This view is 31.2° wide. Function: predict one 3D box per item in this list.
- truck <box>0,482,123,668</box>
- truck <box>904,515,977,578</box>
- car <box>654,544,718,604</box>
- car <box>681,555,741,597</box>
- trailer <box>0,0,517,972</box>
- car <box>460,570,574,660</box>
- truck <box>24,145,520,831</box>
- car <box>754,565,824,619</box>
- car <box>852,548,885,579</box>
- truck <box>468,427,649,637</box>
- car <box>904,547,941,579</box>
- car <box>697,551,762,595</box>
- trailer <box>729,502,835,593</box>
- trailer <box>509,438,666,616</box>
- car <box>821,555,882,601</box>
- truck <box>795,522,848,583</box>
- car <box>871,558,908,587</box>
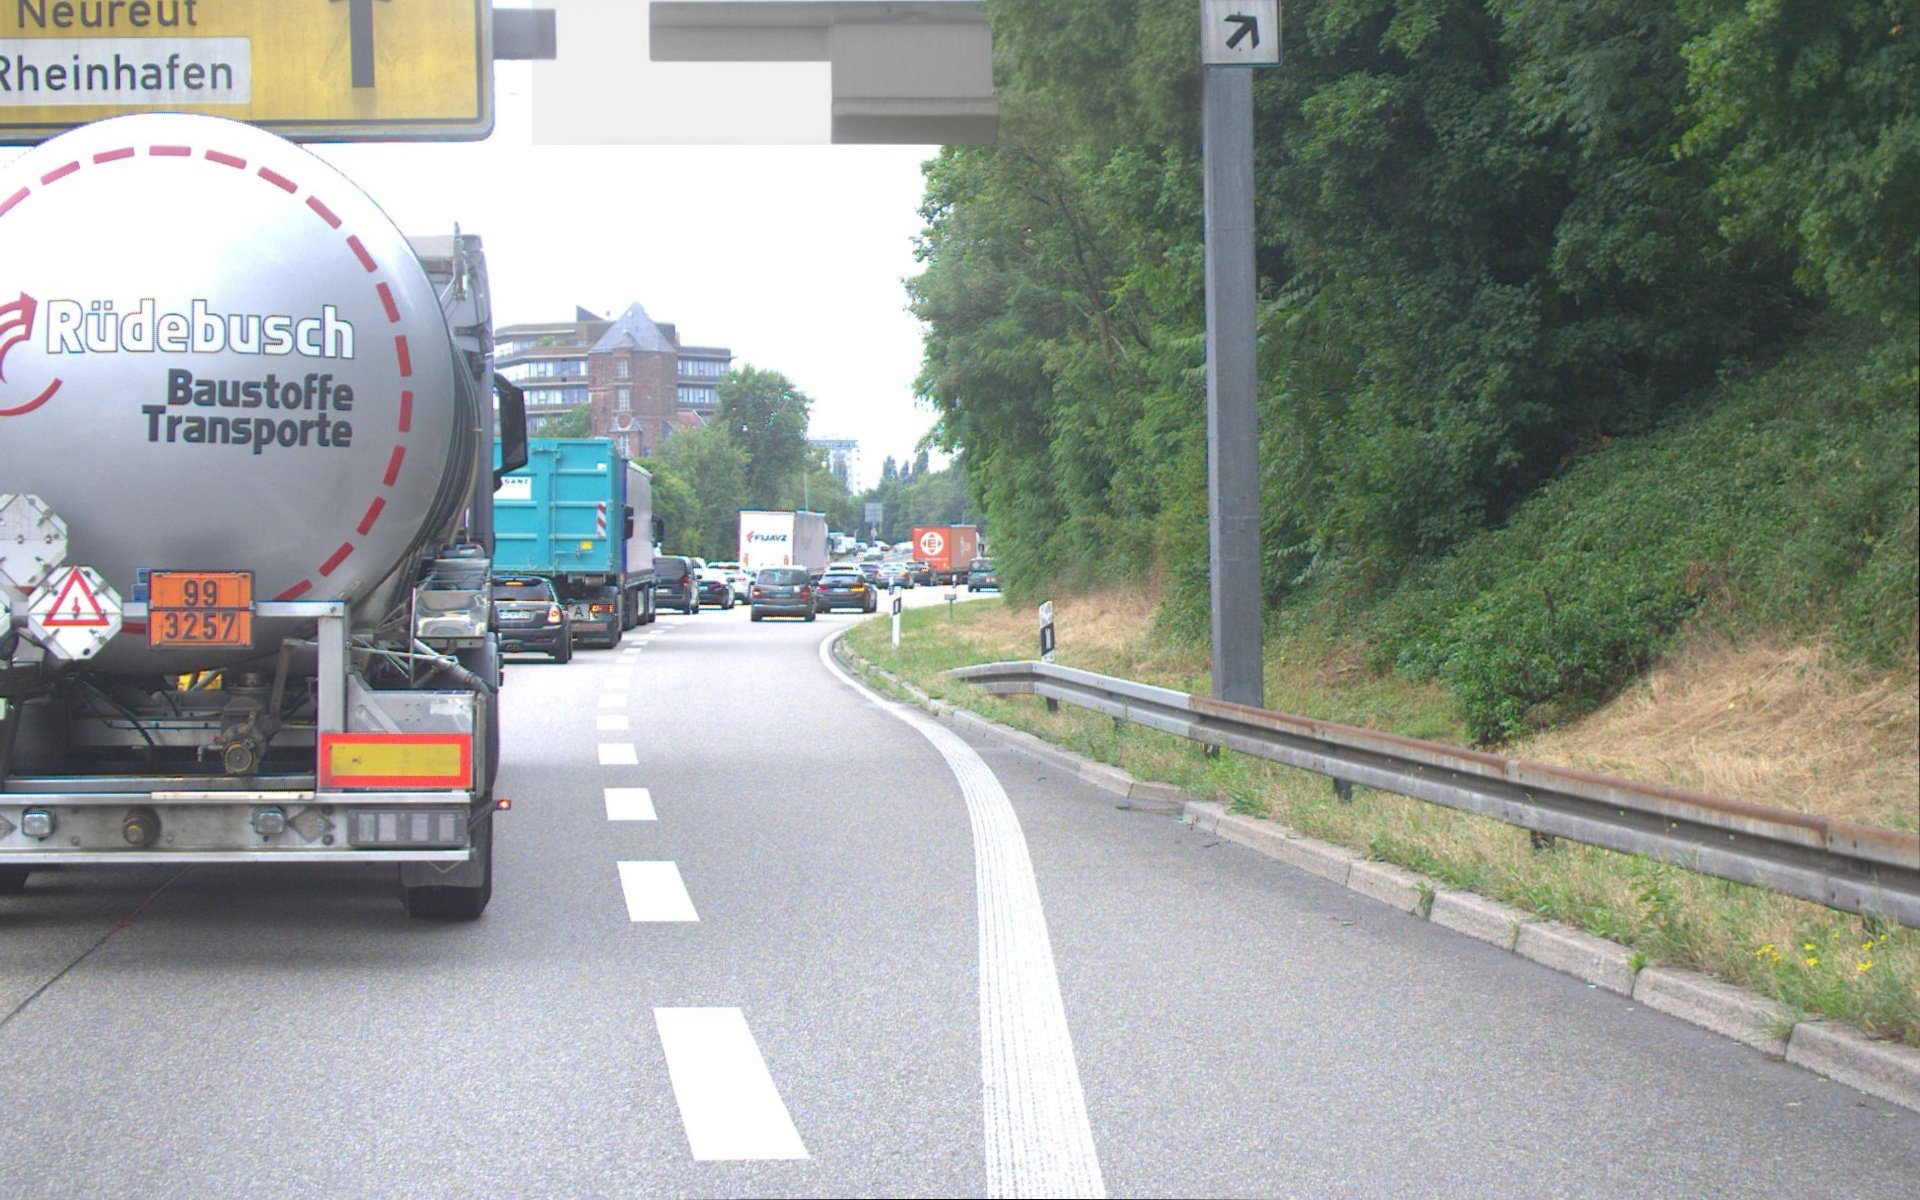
[{"bbox_3d":[-10.818,-0.285,39.288,1.993,2.007,4.001,1,0,-8],"label":"truck"},{"bbox_3d":[-1.246,-3.643,233.099,3.490,4.059,13.589,-1,1,5],"label":"truck"},{"bbox_3d":[-8.957,-0.850,112.059,1.987,1.891,4.986,-1,1,-5],"label":"car"},{"bbox_3d":[-8.905,-0.868,123.394,1.847,1.455,4.831,-1,1,-1],"label":"car"},{"bbox_3d":[-3.740,-0.671,17.944,2.682,3.894,10.989,-1,1,-7],"label":"trailer"},{"bbox_3d":[-7.276,0.223,56.734,1.747,1.417,3.664,0,1,-6],"label":"car"},{"bbox_3d":[-4.375,-0.698,23.170,2.682,3.894,6.937,-1,1,-7],"label":"truck"},{"bbox_3d":[-4.874,-0.246,98.461,1.825,1.477,4.000,-1,1,-1],"label":"car"},{"bbox_3d":[-6.092,-2.416,229.173,1.818,2.007,3.999,-1,1,5],"label":"car"},{"bbox_3d":[-7.852,-1.320,68.508,2.929,3.783,11.332,-1,1,-4],"label":"truck"},{"bbox_3d":[-2.432,-2.376,221.802,1.994,2.007,3.999,-1,1,5],"label":"car"},{"bbox_3d":[-9.128,-1.070,136.450,1.956,1.689,4.865,-1,1,3],"label":"car"},{"bbox_3d":[-8.160,-2.346,159.558,3.299,4.022,13.096,1,0,4],"label":"trailer"},{"bbox_3d":[-9.022,-1.687,84.689,2.626,4.009,13.464,1,0,-1],"label":"trailer"},{"bbox_3d":[-3.620,-0.740,115.129,1.825,1.477,4.000,-1,1,1],"label":"car"},{"bbox_3d":[-9.686,-3.277,241.641,2.739,4.124,10.696,1,0,3],"label":"truck"},{"bbox_3d":[-4.145,-1.634,202.279,1.717,1.678,3.999,1,0,6],"label":"car"}]
